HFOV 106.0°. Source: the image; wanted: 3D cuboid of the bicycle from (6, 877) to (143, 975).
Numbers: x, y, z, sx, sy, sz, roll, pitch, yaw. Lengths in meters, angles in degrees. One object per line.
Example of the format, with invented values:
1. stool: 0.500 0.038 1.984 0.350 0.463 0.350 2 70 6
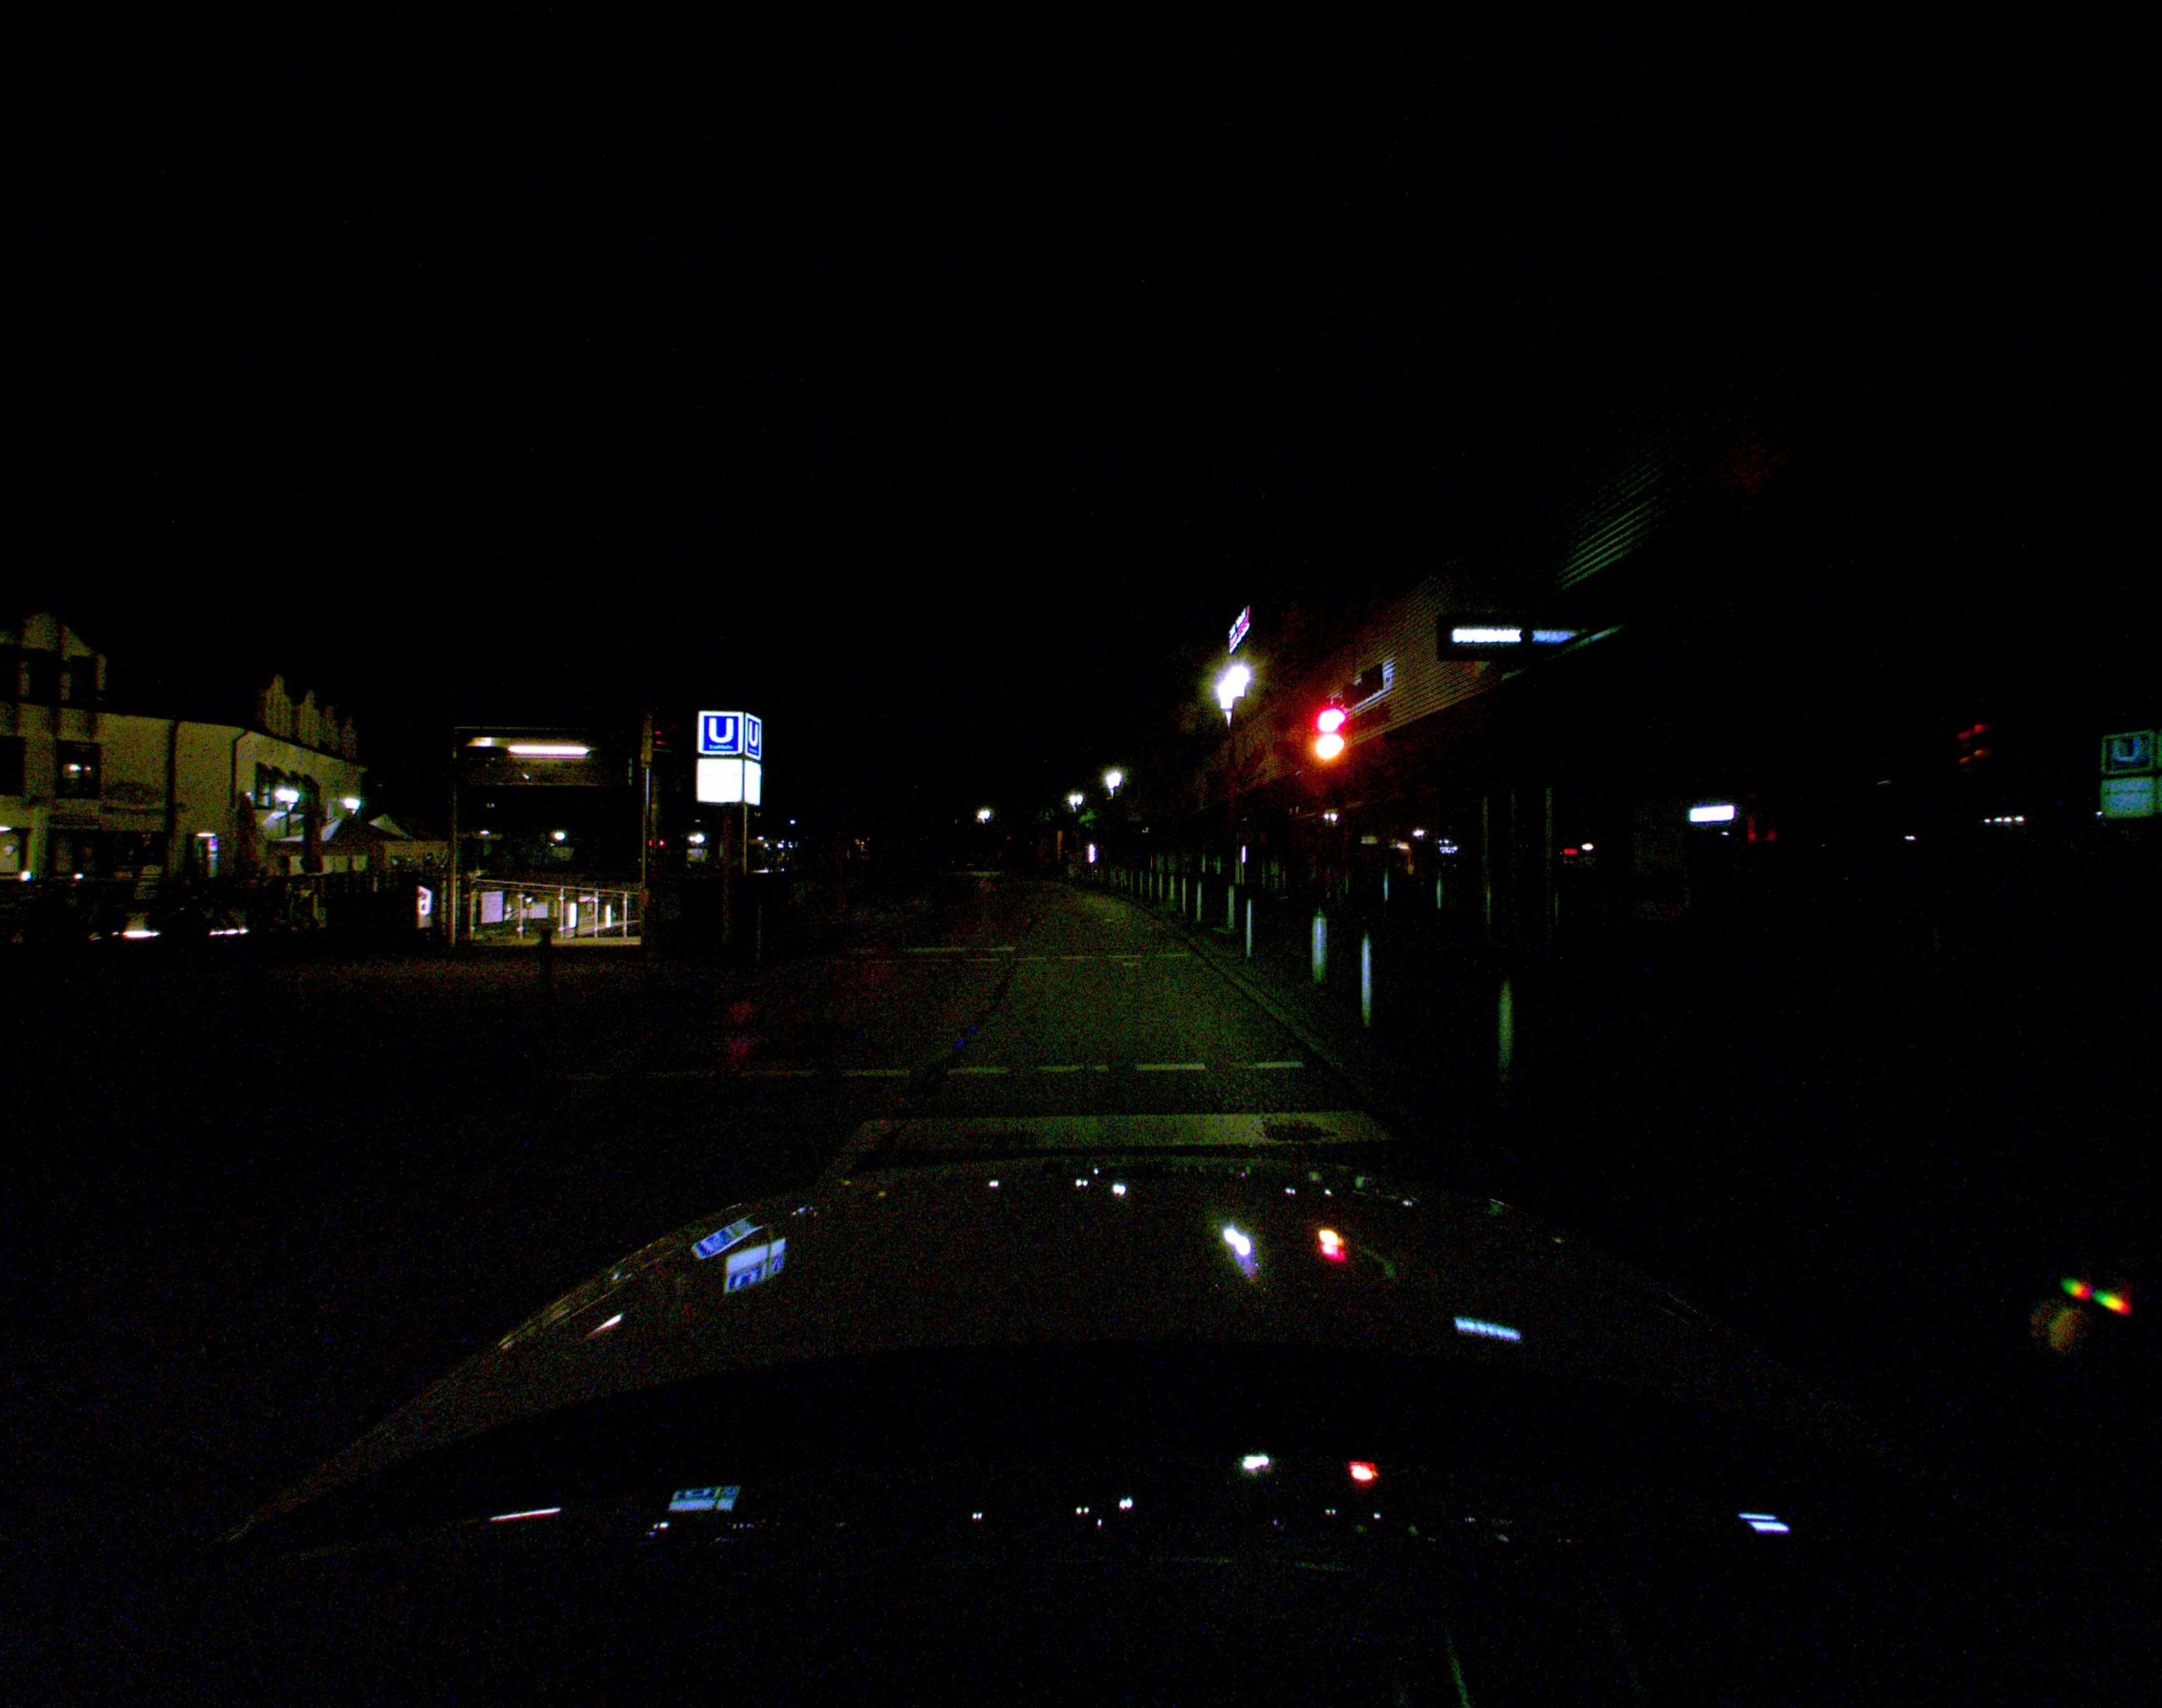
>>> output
1. bicycle: -13.849 0.941 11.266 0.611 1.165 1.730 -1 1 -31

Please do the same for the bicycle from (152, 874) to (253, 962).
1. bicycle: -13.137 0.914 12.233 0.547 1.154 1.730 -1 1 -31

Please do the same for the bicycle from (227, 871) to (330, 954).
1. bicycle: -12.803 0.894 13.050 0.764 1.162 1.730 -1 1 -31

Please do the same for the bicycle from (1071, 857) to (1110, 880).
1. bicycle: 0.439 0.704 39.001 1.757 1.062 0.650 0 0 -24

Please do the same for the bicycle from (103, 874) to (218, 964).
1. bicycle: -13.650 0.919 12.133 0.611 1.165 1.730 -1 1 -31

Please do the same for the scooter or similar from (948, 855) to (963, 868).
1. scooter or similar: -12.578 0.762 81.590 1.253 1.227 0.593 1 0 -27

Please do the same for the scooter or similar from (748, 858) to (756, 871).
1. scooter or similar: -33.234 1.010 82.272 0.433 1.284 1.135 -1 1 -33

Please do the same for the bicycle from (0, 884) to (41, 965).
1. bicycle: -15.283 0.995 11.251 0.611 1.069 1.728 -1 1 -35

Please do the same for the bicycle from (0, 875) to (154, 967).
1. bicycle: -14.706 0.936 11.930 0.608 1.165 1.738 -1 1 -16
